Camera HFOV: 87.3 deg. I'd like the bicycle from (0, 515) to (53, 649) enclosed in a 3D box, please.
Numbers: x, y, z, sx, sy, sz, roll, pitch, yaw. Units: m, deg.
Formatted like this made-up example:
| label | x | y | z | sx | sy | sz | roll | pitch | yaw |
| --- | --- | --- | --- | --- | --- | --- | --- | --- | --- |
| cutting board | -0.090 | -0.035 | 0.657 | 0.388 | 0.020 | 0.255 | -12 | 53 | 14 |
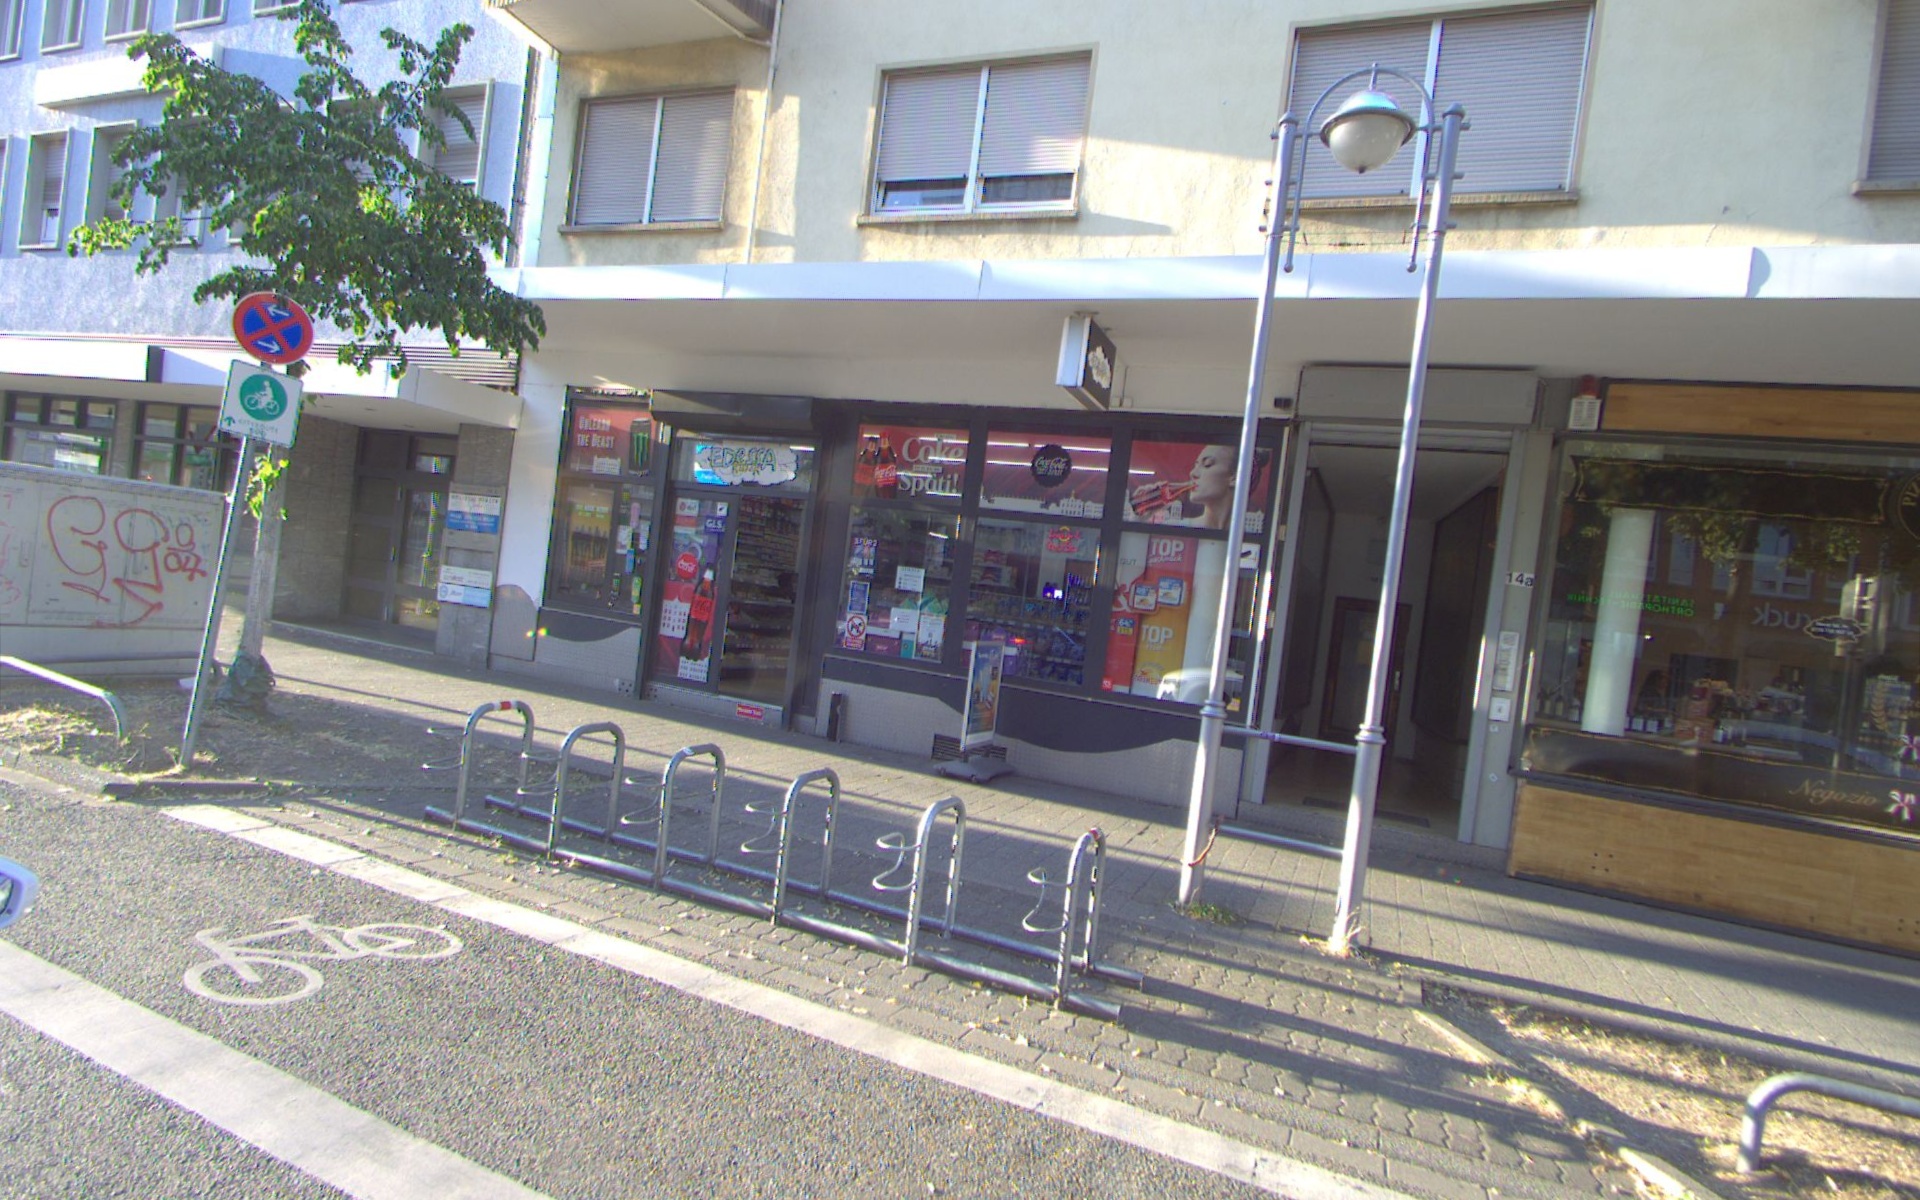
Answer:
| label | x | y | z | sx | sy | sz | roll | pitch | yaw |
| --- | --- | --- | --- | --- | --- | --- | --- | --- | --- |
| bicycle | -9.260 | -0.223 | 9.089 | 0.376 | 1.234 | 1.446 | 7 | -1 | 25 |
